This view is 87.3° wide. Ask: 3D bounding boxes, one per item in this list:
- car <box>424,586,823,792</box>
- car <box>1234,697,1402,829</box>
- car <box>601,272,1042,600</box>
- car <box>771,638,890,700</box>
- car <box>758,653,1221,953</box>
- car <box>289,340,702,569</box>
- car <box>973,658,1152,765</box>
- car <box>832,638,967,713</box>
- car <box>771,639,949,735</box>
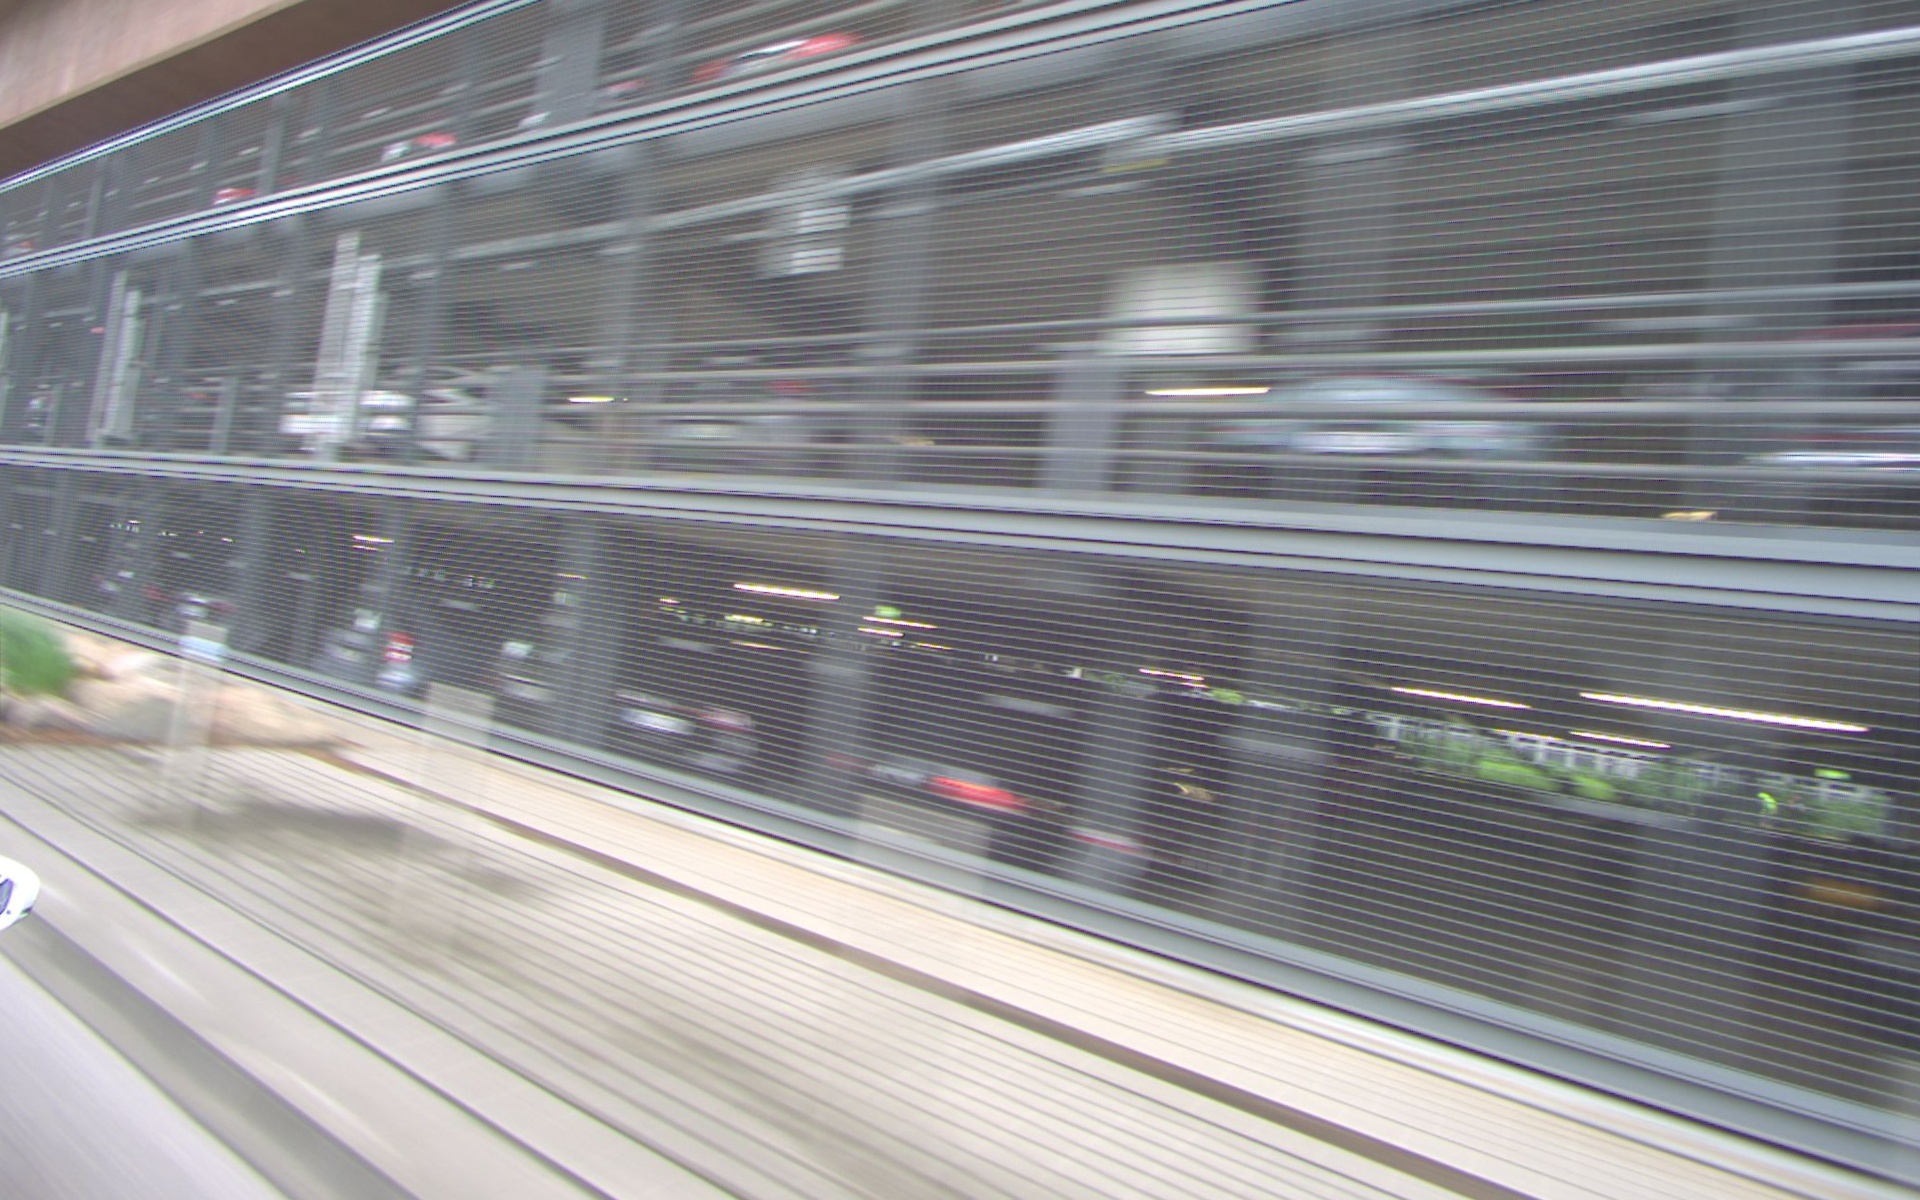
[{"bbox_3d":[-3.383,1.020,10.782,1.697,1.636,3.653,8,-4,31],"label":"car"},{"bbox_3d":[6.033,2.670,16.658,1.693,1.632,3.999,8,-4,31],"label":"car"},{"bbox_3d":[-1.022,-1.288,9.409,1.702,1.887,3.997,9,-2,32],"label":"car"},{"bbox_3d":[-3.742,2.070,29.557,1.485,1.329,3.478,8,-4,31],"label":"car"},{"bbox_3d":[0.525,1.464,7.960,1.780,1.482,3.999,8,-4,31],"label":"car"},{"bbox_3d":[-5.367,-1.606,12.140,1.802,1.675,3.996,9,-3,34],"label":"car"},{"bbox_3d":[2.132,2.254,19.790,1.804,1.632,3.999,8,-4,31],"label":"car"},{"bbox_3d":[-1.604,2.131,27.835,1.791,1.553,3.653,8,-4,31],"label":"car"},{"bbox_3d":[-2.122,2.009,22.503,1.694,1.632,3.998,8,-4,32],"label":"car"}]
